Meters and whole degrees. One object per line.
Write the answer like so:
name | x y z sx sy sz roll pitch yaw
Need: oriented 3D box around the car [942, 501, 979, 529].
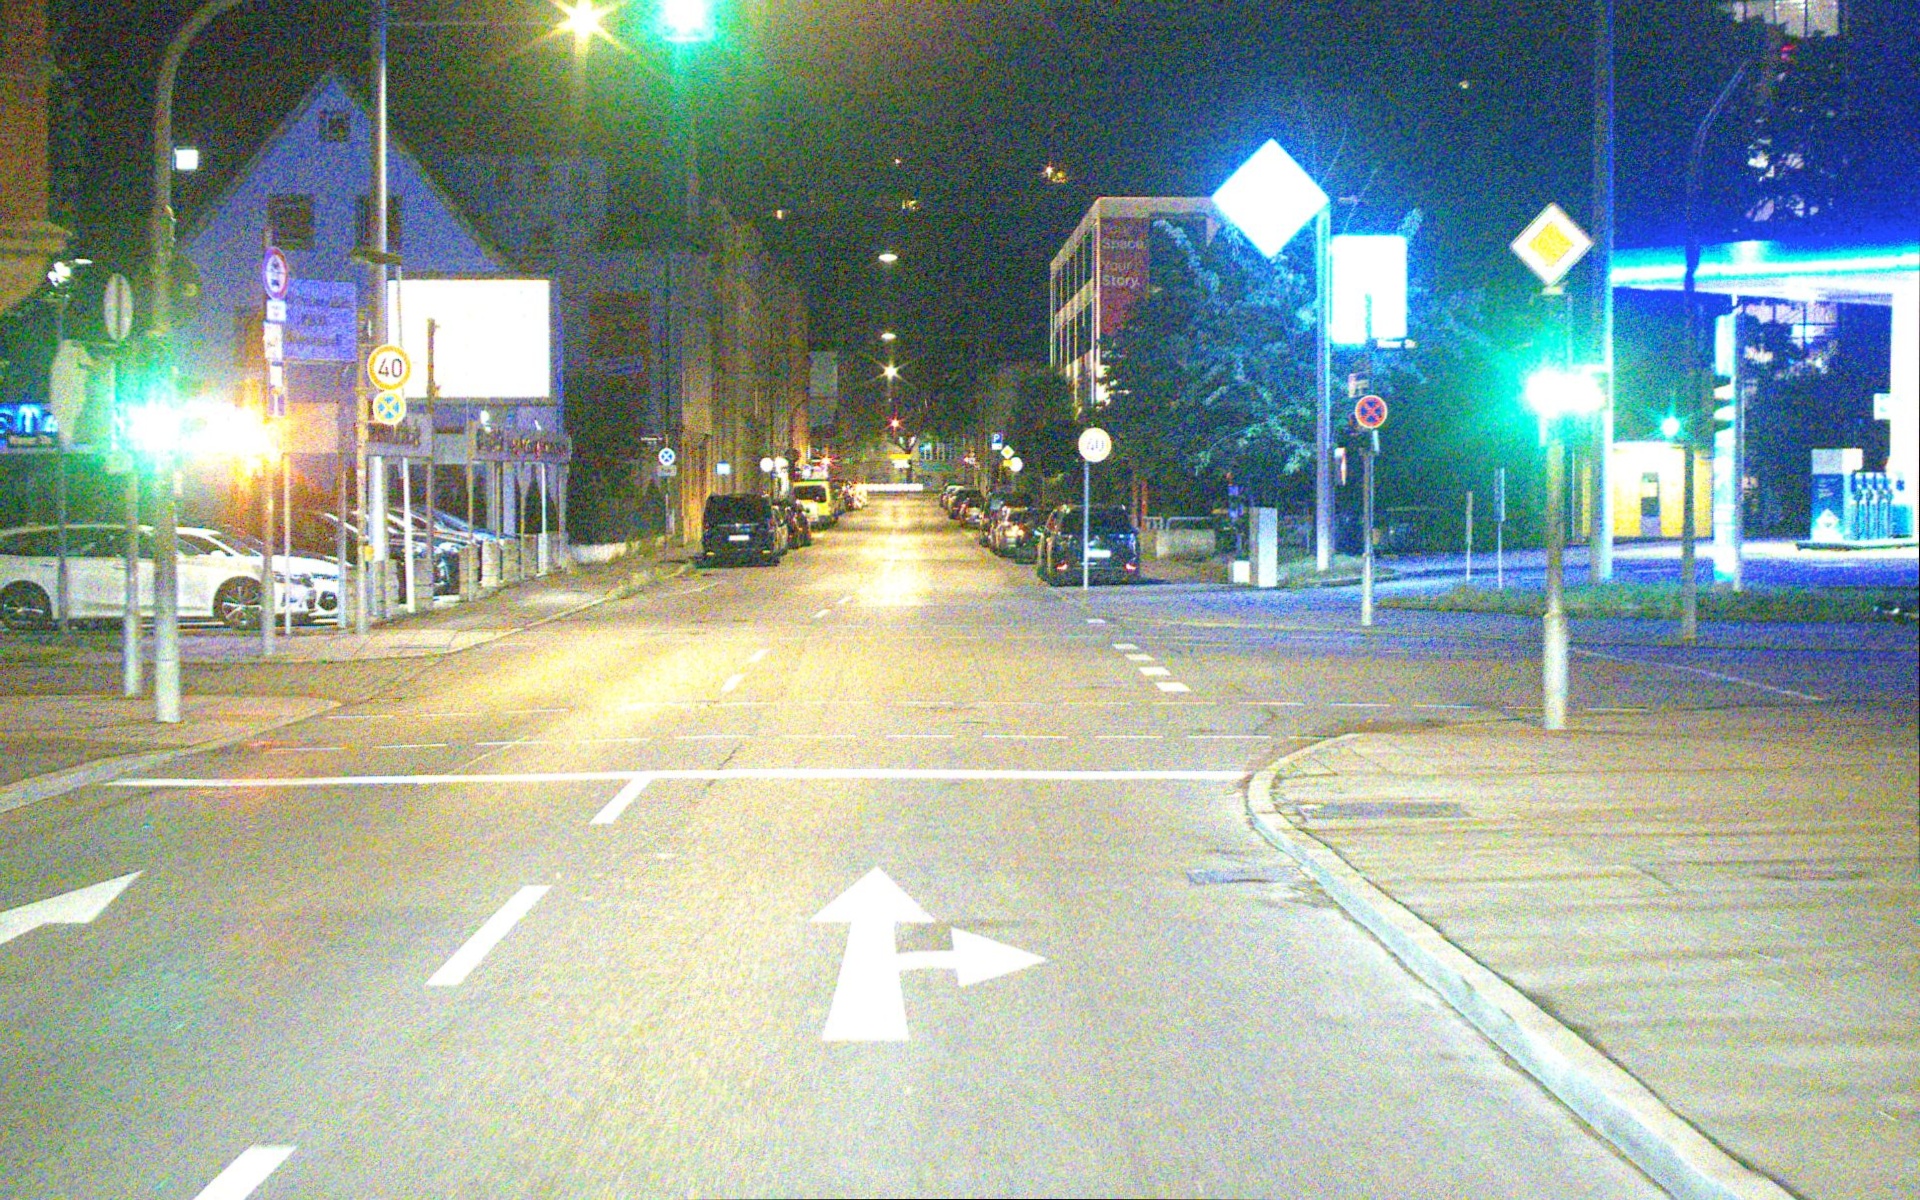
car | 0.056 -4.683 189.106 1.993 1.515 4.000 0 1 1

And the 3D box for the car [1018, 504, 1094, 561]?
car | 2.596 -1.831 93.582 1.993 1.515 4.000 0 1 1

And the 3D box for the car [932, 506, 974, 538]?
car | -0.325 -3.744 165.924 1.993 1.515 4.000 0 1 1

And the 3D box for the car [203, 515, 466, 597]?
car | -11.301 -0.805 62.329 4.438 1.444 2.000 0 1 -1

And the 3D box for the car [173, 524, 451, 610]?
car | -11.171 -0.574 59.475 4.438 1.444 2.000 0 1 -1

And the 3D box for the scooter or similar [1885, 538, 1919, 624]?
scooter or similar | 13.016 -0.270 45.347 1.675 1.088 0.716 -2 3 -38

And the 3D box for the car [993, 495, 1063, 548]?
car | 1.985 -2.280 100.705 1.993 1.515 4.000 0 1 1

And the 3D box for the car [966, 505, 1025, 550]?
car | 1.228 -2.485 118.116 1.993 1.515 4.000 0 1 1

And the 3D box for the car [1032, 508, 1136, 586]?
car | 2.499 -1.104 69.927 1.993 1.511 4.000 1 2 1

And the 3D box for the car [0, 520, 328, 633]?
car | -10.821 -0.322 45.826 4.438 1.444 2.000 0 1 -1

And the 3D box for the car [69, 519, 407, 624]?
car | -10.235 -0.407 48.974 4.438 1.444 2.000 0 1 -2

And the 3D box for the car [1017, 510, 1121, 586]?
car | 2.362 -1.162 75.334 1.993 1.590 4.001 1 2 -2

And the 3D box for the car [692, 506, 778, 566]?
car | -5.759 -1.632 88.290 1.993 1.497 4.000 0 1 -1
